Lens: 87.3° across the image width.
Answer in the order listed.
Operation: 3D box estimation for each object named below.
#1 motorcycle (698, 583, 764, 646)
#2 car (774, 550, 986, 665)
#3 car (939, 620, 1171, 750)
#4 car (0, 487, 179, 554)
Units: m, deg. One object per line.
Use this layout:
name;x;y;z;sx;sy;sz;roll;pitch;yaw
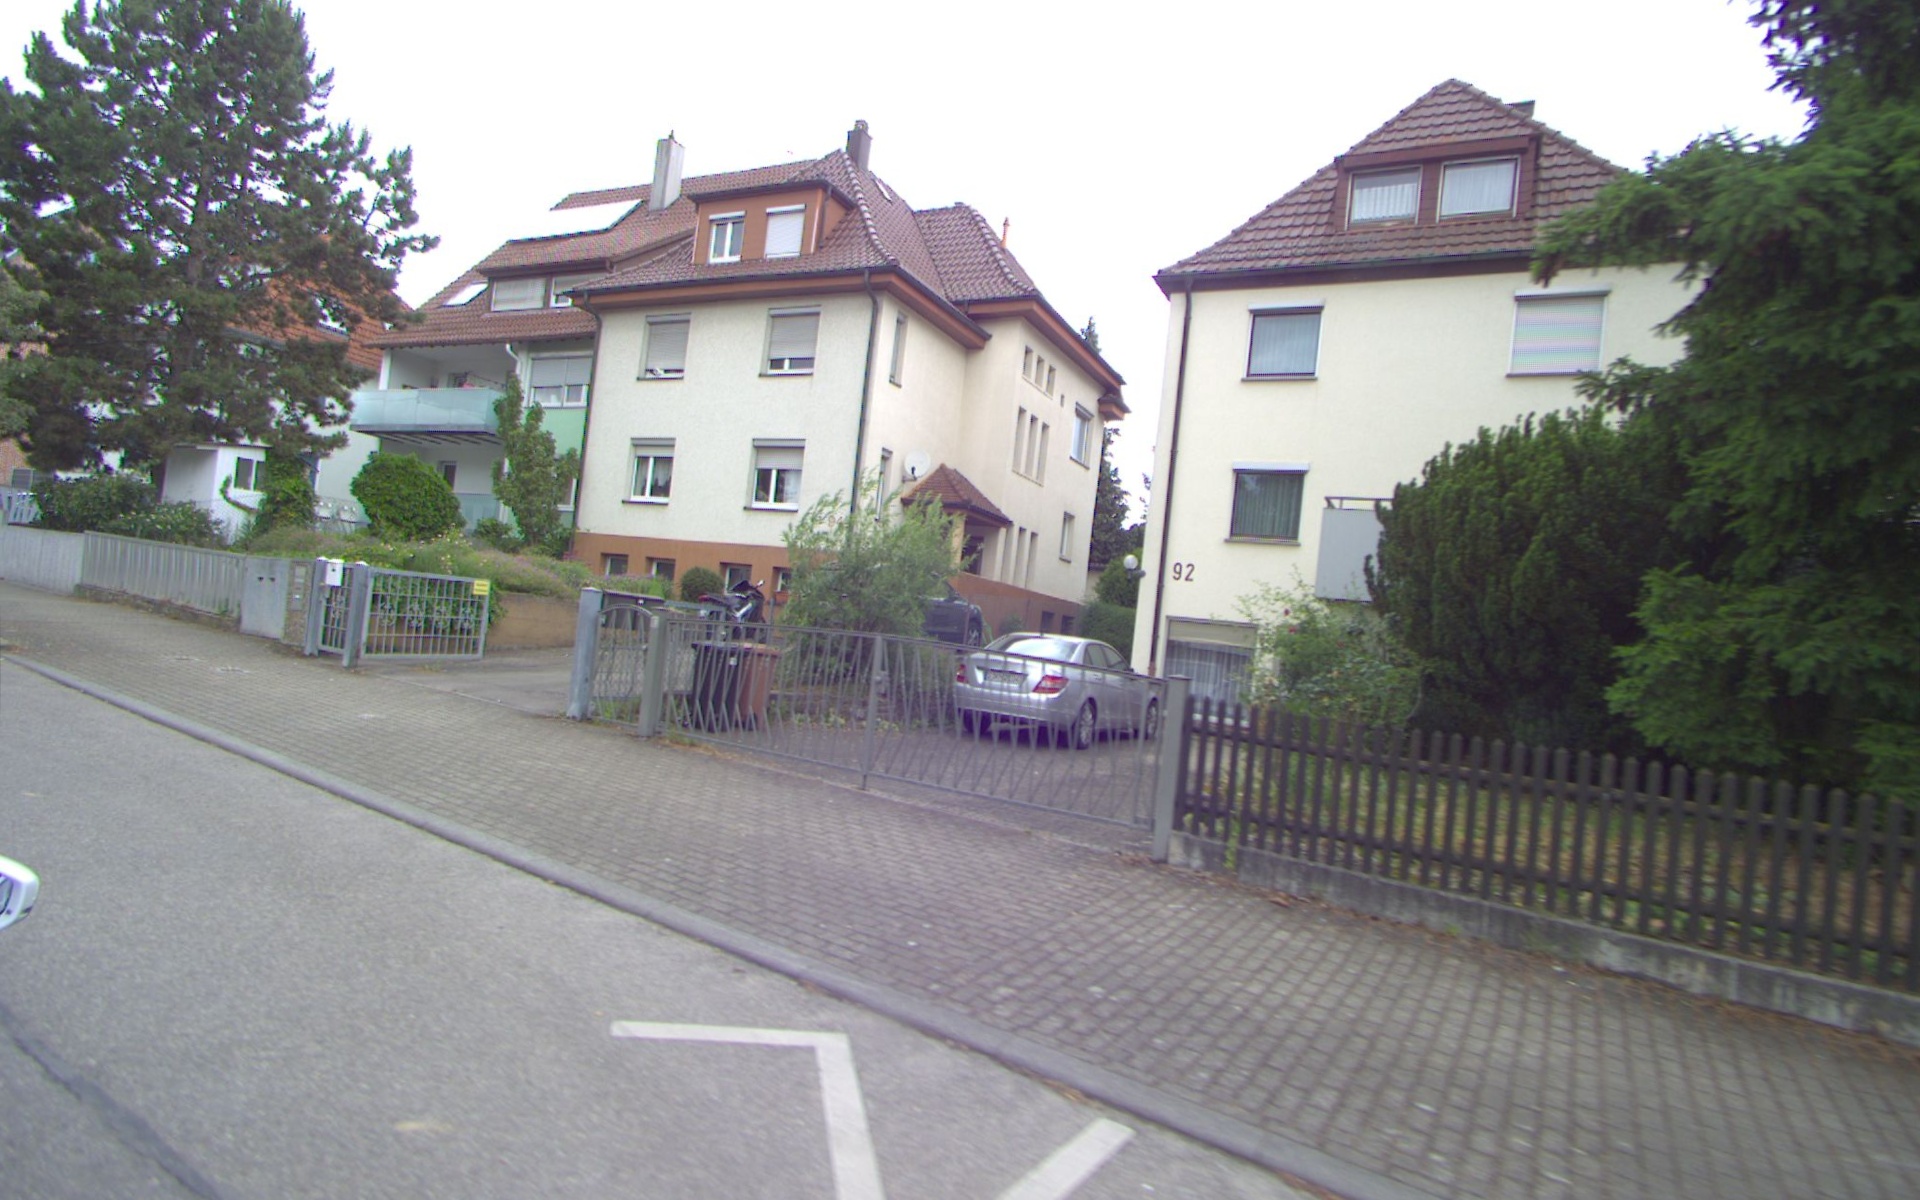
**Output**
motorcycle;-4.195;0.251;18.491;0.575;1.061;1.222;4;4;21
car;-1.292;0.066;17.938;1.853;1.727;3.987;4;3;28
car;1.488;1.180;14.210;1.618;1.410;3.993;6;-1;30
car;-24.265;-2.156;27.524;1.665;1.526;4.265;5;2;24
